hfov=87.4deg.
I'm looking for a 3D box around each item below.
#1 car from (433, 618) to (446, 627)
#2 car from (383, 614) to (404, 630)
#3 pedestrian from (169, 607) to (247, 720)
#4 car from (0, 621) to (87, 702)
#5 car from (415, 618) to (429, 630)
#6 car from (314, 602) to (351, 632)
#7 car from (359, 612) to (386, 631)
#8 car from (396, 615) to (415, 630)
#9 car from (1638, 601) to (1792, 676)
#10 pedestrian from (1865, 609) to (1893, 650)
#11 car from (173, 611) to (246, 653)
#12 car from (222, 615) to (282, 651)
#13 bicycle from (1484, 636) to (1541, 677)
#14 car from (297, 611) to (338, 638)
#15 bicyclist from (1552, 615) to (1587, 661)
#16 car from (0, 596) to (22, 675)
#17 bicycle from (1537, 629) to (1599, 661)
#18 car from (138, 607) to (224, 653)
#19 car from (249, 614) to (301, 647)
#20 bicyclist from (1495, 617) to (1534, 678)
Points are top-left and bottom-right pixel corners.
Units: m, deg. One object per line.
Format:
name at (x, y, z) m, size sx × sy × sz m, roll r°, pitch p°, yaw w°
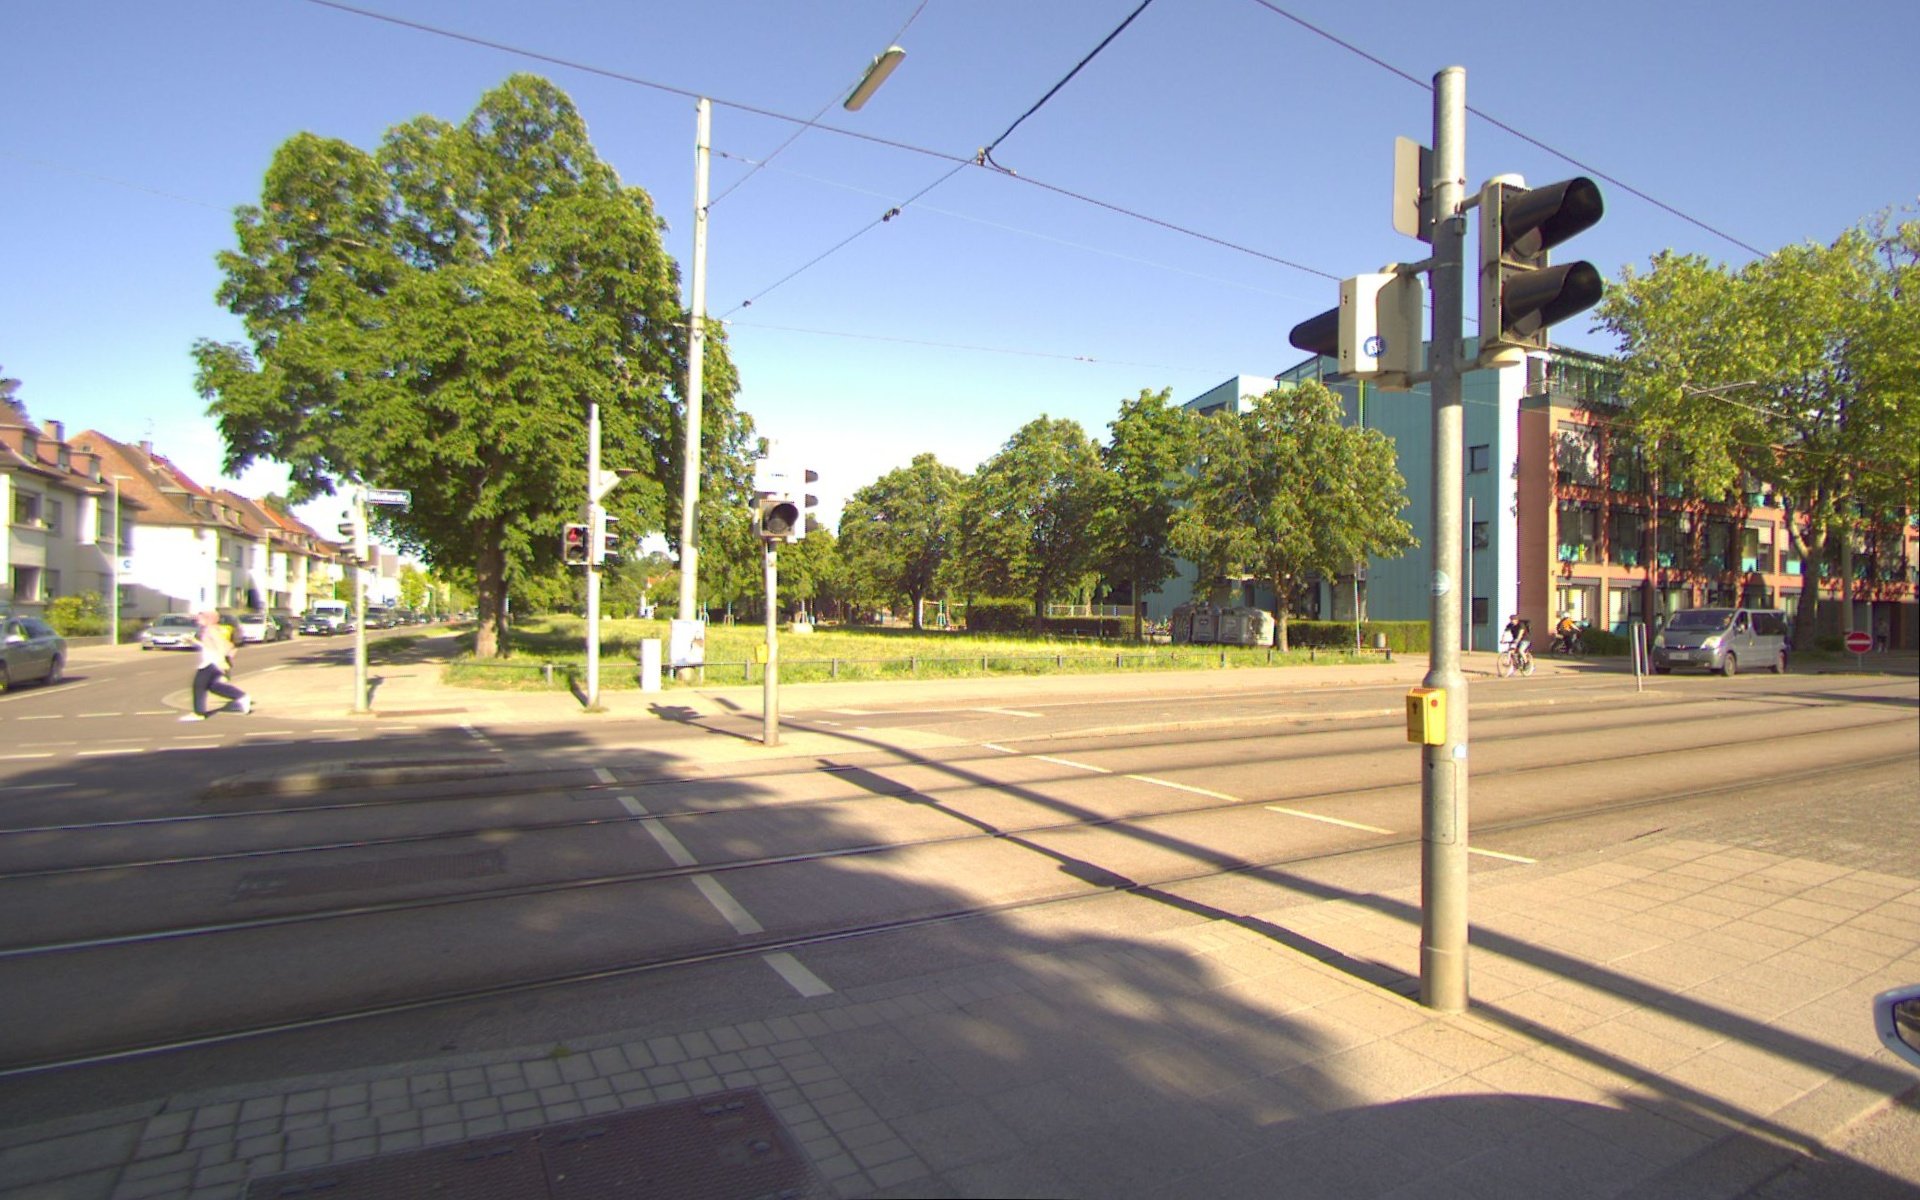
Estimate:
car at (-94.360, 4.070, 182.118) m, size 1.792 × 1.766 × 3.863 m, roll 0°, pitch -1°, yaw -25°
car at (-63.838, 2.483, 113.222) m, size 1.792 × 1.766 × 3.863 m, roll 0°, pitch -1°, yaw -25°
pedestrian at (-10.939, 0.897, 14.628) m, size 0.665 × 1.578 × 0.624 m, roll 1°, pitch 1°, yaw 14°
car at (-18.816, 1.142, 19.330) m, size 1.790 × 1.452 × 3.980 m, roll 0°, pitch -1°, yaw -21°
car at (-84.055, 3.776, 156.971) m, size 1.644 × 1.766 × 3.664 m, roll 0°, pitch -1°, yaw -25°
car at (-46.140, 1.228, 73.893) m, size 1.792 × 2.122 × 4.158 m, roll 0°, pitch -1°, yaw -25°
car at (-56.454, 2.068, 96.580) m, size 1.792 × 1.766 × 3.863 m, roll 0°, pitch -1°, yaw -25°
car at (-70.053, 2.840, 126.970) m, size 1.792 × 1.766 × 3.863 m, roll 0°, pitch -1°, yaw -25°
car at (22.761, 1.114, 30.226) m, size 5.193 × 2.040 × 2.009 m, roll 0°, pitch -2°, yaw -33°
pedestrian at (47.317, 1.501, 51.715) m, size 0.773 × 2.041 × 0.904 m, roll 0°, pitch 2°, yaw -36°
car at (-33.332, 1.392, 44.729) m, size 1.792 × 1.766 × 3.863 m, roll 1°, pitch -1°, yaw -25°
car at (-36.236, 1.635, 51.496) m, size 1.792 × 1.766 × 3.863 m, roll 0°, pitch -1°, yaw -25°
bicycle at (15.845, 1.606, 28.775) m, size 1.805 × 1.128 × 0.584 m, roll 0°, pitch -2°, yaw -31°
car at (-43.673, 1.628, 68.339) m, size 1.792 × 1.766 × 3.863 m, roll 0°, pitch -1°, yaw -25°
bicyclist at (23.317, 1.434, 38.430) m, size 0.914 × 1.715 × 0.606 m, roll 1°, pitch 1°, yaw -2°
car at (-23.446, 0.831, 22.846) m, size 1.792 × 1.892 × 4.289 m, roll 0°, pitch -1°, yaw -25°
bicycle at (23.257, 1.717, 38.430) m, size 1.996 × 1.145 × 0.633 m, roll 1°, pitch 1°, yaw -3°
car at (-31.166, 1.165, 40.305) m, size 1.792 × 1.766 × 4.176 m, roll 0°, pitch -1°, yaw -25°
car at (-38.186, 1.694, 56.074) m, size 1.792 × 1.766 × 3.863 m, roll 0°, pitch -1°, yaw -25°
bicyclist at (15.910, 1.354, 28.833) m, size 0.891 × 1.733 × 0.584 m, roll 0°, pitch -1°, yaw -30°
